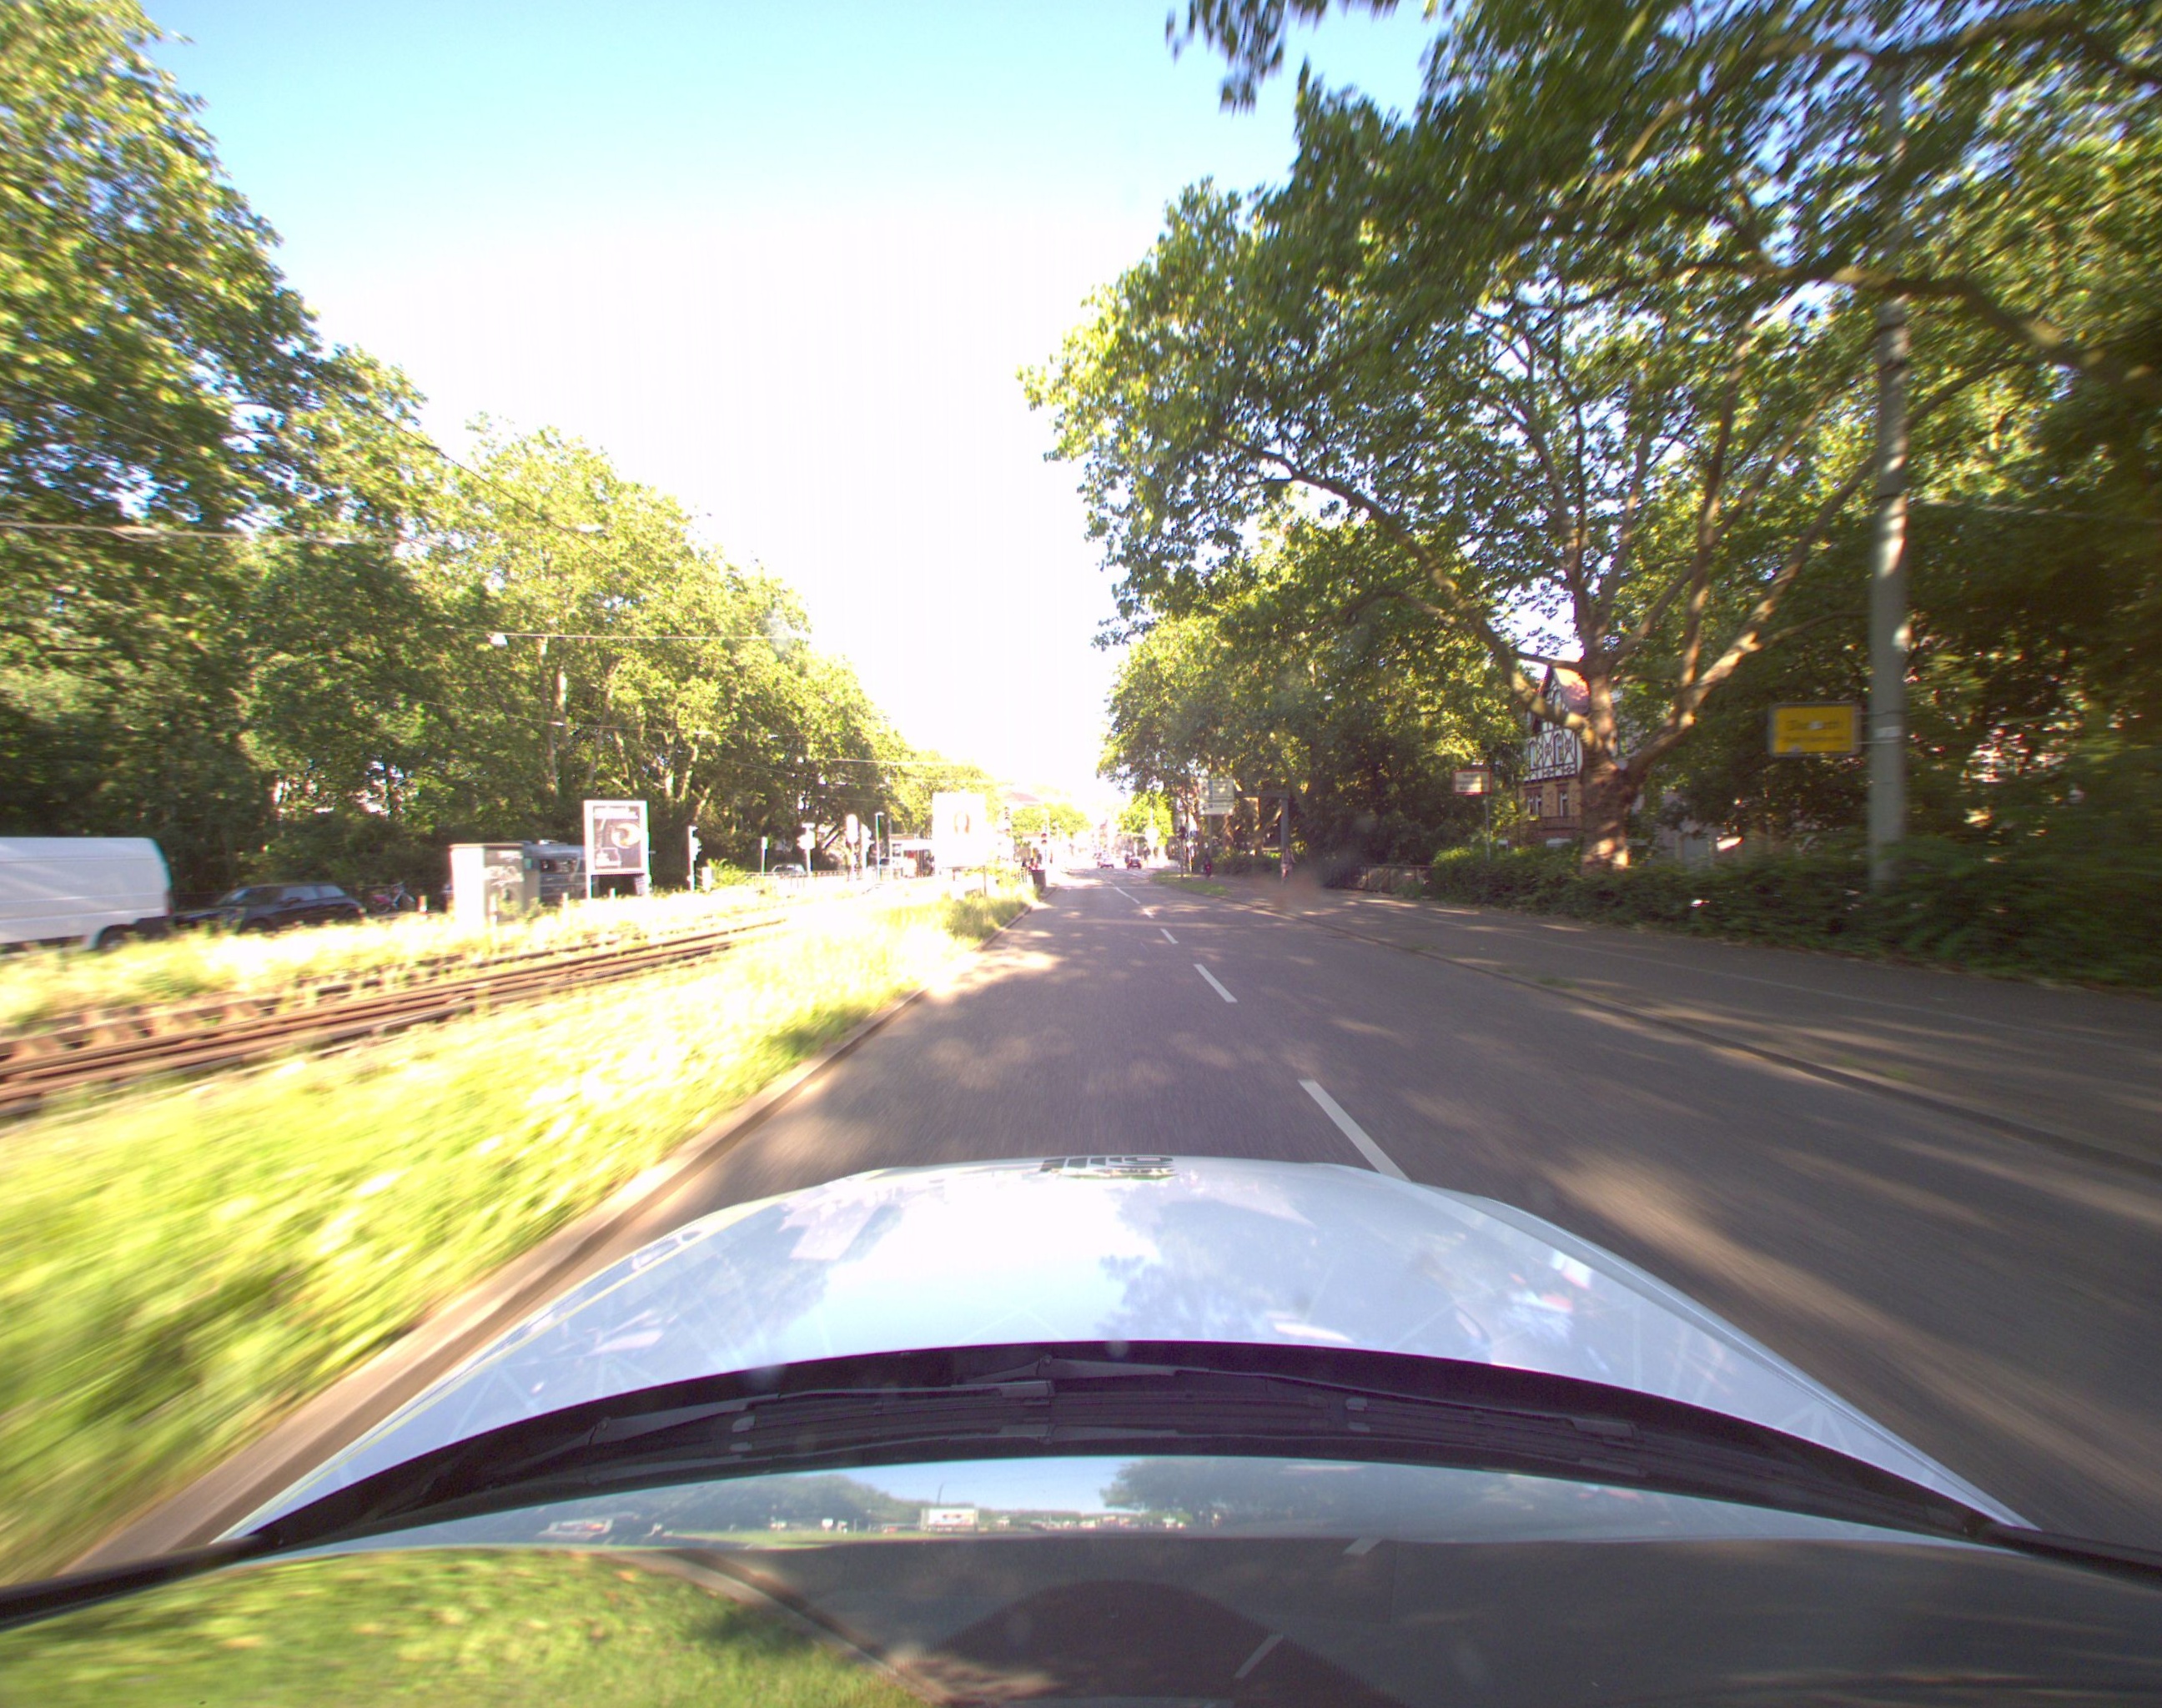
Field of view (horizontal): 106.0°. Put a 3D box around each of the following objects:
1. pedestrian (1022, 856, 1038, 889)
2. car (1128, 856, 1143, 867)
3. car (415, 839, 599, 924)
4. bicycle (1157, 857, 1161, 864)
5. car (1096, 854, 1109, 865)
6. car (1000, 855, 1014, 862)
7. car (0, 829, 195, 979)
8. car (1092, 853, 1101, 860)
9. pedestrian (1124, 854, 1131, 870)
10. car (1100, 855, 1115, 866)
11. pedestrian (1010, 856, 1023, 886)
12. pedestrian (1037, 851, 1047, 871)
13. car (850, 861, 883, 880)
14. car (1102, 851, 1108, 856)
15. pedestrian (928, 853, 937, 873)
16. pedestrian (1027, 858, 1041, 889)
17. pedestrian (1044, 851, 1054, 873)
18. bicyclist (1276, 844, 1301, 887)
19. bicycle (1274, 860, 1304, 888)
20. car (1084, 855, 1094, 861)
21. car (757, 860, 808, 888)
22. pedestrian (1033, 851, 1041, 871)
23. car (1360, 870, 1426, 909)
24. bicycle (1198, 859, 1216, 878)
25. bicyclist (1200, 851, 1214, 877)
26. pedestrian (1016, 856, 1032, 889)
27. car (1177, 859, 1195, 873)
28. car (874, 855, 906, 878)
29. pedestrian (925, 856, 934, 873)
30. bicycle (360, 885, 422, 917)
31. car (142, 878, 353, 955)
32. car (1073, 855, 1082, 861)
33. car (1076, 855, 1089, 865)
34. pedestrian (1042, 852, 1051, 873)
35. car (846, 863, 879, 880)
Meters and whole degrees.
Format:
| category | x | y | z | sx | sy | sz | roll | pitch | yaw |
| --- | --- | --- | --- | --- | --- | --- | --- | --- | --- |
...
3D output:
| category | x | y | z | sx | sy | sz | roll | pitch | yaw |
| --- | --- | --- | --- | --- | --- | --- | --- | --- | --- |
| pedestrian | -2.536 | 0.917 | 40.679 | 0.515 | 1.568 | 0.511 | -4 | -1 | 30 |
| car | 7.368 | 0.981 | 109.945 | 1.794 | 1.439 | 4.044 | 0 | 0 | 0 |
| car | -19.668 | 0.883 | 28.388 | 2.178 | 2.521 | 6.028 | -3 | -1 | -2 |
| bicycle | 12.055 | 1.062 | 125.461 | 0.497 | 1.075 | 1.799 | 0 | -1 | 0 |
| car | 3.277 | 0.770 | 122.326 | 1.795 | 1.638 | 4.043 | -1 | 0 | -1 |
| car | -18.259 | 1.080 | 201.758 | 1.905 | 1.649 | 4.202 | -1 | 0 | 20 |
| car | -19.347 | 0.894 | 13.703 | 2.179 | 2.521 | 6.264 | -3 | -1 | -3 |
| car | 4.453 | 0.755 | 232.384 | 1.783 | 1.826 | 4.011 | -1 | 0 | 10 |
| pedestrian | 5.506 | 0.958 | 96.548 | 0.655 | 1.871 | 0.677 | -1 | 0 | -1 |
| car | 3.738 | 0.848 | 114.997 | 1.923 | 1.472 | 4.853 | -1 | 0 | 0 |
| pedestrian | -3.321 | 0.865 | 41.871 | 0.518 | 1.472 | 0.514 | -3 | -1 | 1 |
| pedestrian | -3.354 | 0.628 | 69.983 | 0.656 | 1.722 | 0.702 | 1 | -1 | -36 |
| car | -18.944 | 1.440 | 72.166 | 1.789 | 1.510 | 4.338 | -3 | -1 | -2 |
| car | 7.274 | -0.082 | 247.028 | 1.789 | 1.510 | 3.998 | -1 | 0 | -1 |
| pedestrian | -13.045 | 0.803 | 71.334 | 0.645 | 1.772 | 0.650 | 0 | -1 | 2 |
| pedestrian | -2.390 | 0.975 | 41.390 | 0.588 | 1.519 | 0.514 | -3 | -1 | 0 |
| pedestrian | -2.523 | 0.613 | 64.492 | 0.740 | 1.694 | 0.791 | 0 | -1 | 0 |
| bicyclist | 8.588 | 0.456 | 33.726 | 0.697 | 1.728 | 1.079 | -1 | 0 | -2 |
| bicycle | 8.593 | 0.818 | 33.725 | 0.697 | 1.107 | 1.929 | -1 | 0 | -1 |
| car | 2.199 | 1.136 | 224.920 | 1.780 | 1.510 | 4.019 | -2 | -1 | 19 |
| car | -19.050 | 1.268 | 52.132 | 1.899 | 1.652 | 3.968 | -3 | -1 | -3 |
| pedestrian | -3.462 | 0.572 | 64.399 | 0.586 | 1.567 | 0.650 | 0 | -1 | 0 |
| car | 16.040 | 1.790 | 42.087 | 1.897 | 1.812 | 4.098 | 0 | 0 | 0 |
| bicycle | 7.615 | 0.870 | 49.148 | 0.764 | 1.107 | 1.799 | -1 | 0 | -1 |
| bicyclist | 7.601 | 0.597 | 49.141 | 0.764 | 1.513 | 0.650 | -1 | 0 | -1 |
| pedestrian | -2.816 | 0.912 | 40.270 | 0.515 | 1.568 | 0.511 | -4 | -1 | 30 |
| car | 14.527 | 1.602 | 113.100 | 1.790 | 1.898 | 4.355 | 0 | -1 | -2 |
| car | -18.894 | 1.222 | 80.886 | 2.062 | 2.124 | 5.086 | -3 | -1 | -2 |
| pedestrian | -13.152 | 0.908 | 70.652 | 0.591 | 1.544 | 0.626 | 0 | -1 | 0 |
| bicycle | -24.790 | 1.666 | 29.311 | 0.579 | 1.030 | 1.863 | -2 | 0 | 2 |
| car | -19.512 | 1.400 | 19.271 | 1.648 | 1.512 | 3.262 | -3 | -1 | -3 |
| car | -0.956 | 1.089 | 216.823 | 1.785 | 1.510 | 4.007 | -1 | -1 | 7 |
| car | 0.231 | 0.900 | 124.025 | 1.803 | 1.452 | 3.998 | 0 | 0 | -1 |
| pedestrian | -3.051 | 0.769 | 71.586 | 0.647 | 1.841 | 0.712 | 0 | -1 | 9 |
| car | -18.868 | 1.478 | 70.585 | 1.765 | 1.292 | 4.312 | -3 | -1 | -2 |
